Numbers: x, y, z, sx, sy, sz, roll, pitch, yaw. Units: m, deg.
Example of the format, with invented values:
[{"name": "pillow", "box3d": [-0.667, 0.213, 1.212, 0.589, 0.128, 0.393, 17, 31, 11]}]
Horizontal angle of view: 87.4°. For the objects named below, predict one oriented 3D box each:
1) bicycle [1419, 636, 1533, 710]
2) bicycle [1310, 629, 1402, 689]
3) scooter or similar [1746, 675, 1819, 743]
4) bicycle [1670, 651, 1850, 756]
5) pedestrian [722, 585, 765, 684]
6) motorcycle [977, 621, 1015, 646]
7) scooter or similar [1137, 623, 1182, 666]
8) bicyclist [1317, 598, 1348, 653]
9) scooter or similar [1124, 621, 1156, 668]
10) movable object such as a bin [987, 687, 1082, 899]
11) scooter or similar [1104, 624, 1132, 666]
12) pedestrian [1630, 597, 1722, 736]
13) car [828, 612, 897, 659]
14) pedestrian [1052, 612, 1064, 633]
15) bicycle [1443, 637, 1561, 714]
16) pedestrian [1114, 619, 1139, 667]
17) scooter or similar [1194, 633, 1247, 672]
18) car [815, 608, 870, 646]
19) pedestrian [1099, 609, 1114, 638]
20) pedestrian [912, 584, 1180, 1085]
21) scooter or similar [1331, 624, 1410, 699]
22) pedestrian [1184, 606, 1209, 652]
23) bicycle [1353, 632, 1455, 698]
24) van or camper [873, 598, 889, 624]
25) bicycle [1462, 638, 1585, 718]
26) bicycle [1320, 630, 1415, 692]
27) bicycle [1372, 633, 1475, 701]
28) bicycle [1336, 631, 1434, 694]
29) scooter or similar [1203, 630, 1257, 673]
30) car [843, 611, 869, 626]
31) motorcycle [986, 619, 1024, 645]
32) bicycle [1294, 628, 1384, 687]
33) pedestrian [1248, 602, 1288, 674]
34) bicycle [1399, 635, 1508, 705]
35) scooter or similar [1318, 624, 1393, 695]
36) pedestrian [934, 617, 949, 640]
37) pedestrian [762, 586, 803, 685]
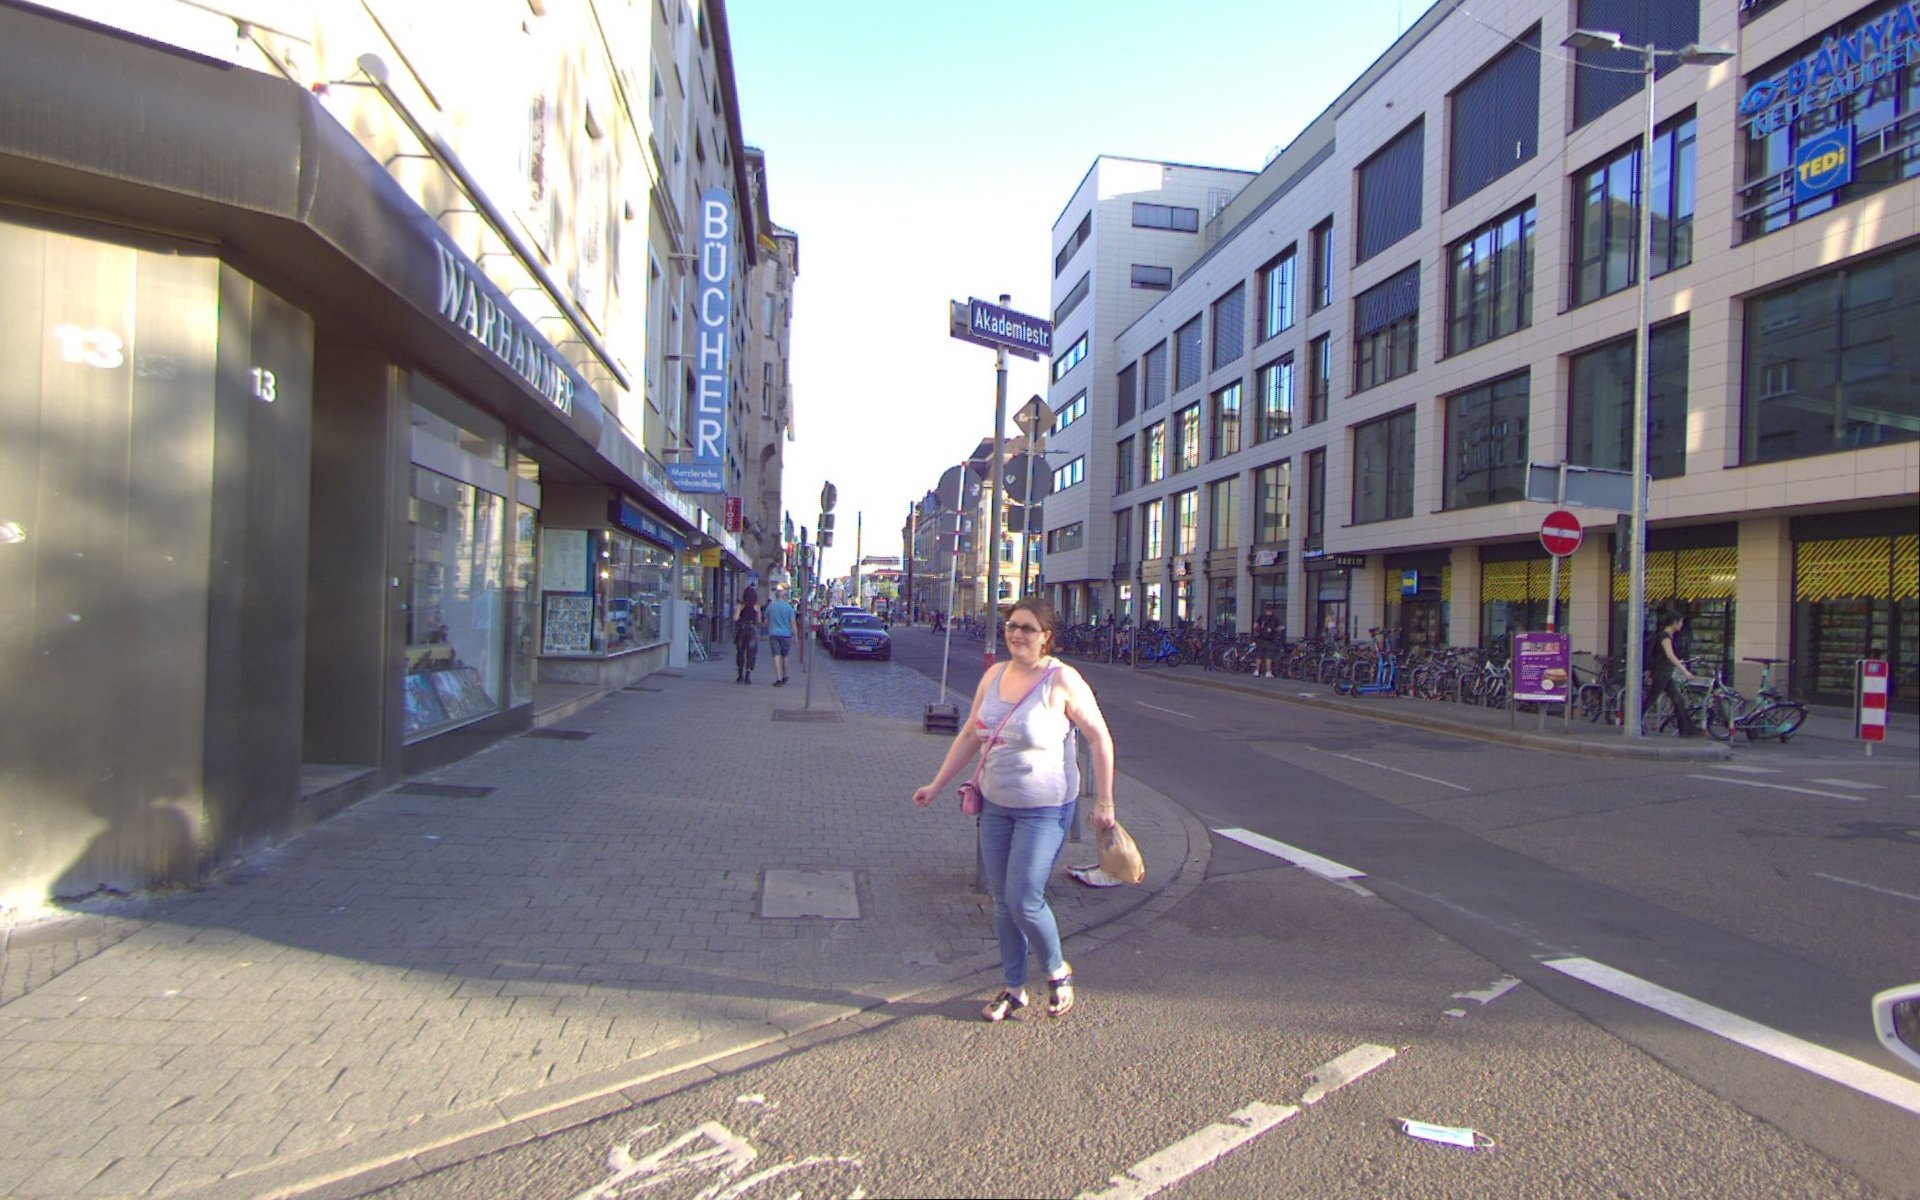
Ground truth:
[{"name": "bicycle", "box3d": [9.580, 1.348, 18.647, 1.944, 1.271, 0.512, 3, 0, -11]}, {"name": "bicycle", "box3d": [9.022, 1.350, 22.900, 1.944, 1.271, 0.512, 3, 0, -11]}, {"name": "scooter or similar", "box3d": [11.704, 1.547, 14.295, 0.756, 0.896, 0.387, 3, 0, -11]}, {"name": "bicycle", "box3d": [10.525, 1.355, 13.226, 2.104, 1.271, 0.664, 3, 0, -13]}, {"name": "pedestrian", "box3d": [-3.906, 0.609, 18.142, 0.653, 1.730, 0.802, 2, 0, -9]}, {"name": "motorcycle", "box3d": [1.986, 1.838, 55.303, 1.948, 1.271, 0.511, 3, 0, -18]}, {"name": "scooter or similar", "box3d": [6.100, 1.370, 30.758, 1.248, 1.259, 0.387, 3, 0, -11]}, {"name": "bicyclist", "box3d": [11.864, 0.801, 31.995, 0.672, 1.718, 0.643, 2, 0, -9]}, {"name": "scooter or similar", "box3d": [5.176, 1.269, 28.959, 0.506, 1.259, 1.269, 2, 0, -6]}, {"name": "movable object such as a bin", "box3d": [0.411, 1.041, 5.549, 0.354, 1.078, 0.354, 2, 0, 39]}, {"name": "scooter or similar", "box3d": [4.852, 1.376, 30.953, 0.506, 1.196, 1.269, 2, 0, -6]}, {"name": "pedestrian", "box3d": [9.102, 0.818, 12.765, 0.859, 1.680, 0.616, 2, 0, 41]}, {"name": "car", "box3d": [-3.309, 1.128, 33.405, 1.831, 1.409, 3.991, 2, -1, -12]}, {"name": "pedestrian", "box3d": [6.759, 1.546, 69.188, 0.672, 1.444, 0.643, 2, 0, -10]}, {"name": "bicycle", "box3d": [9.672, 1.347, 17.936, 1.944, 1.271, 0.512, 3, 0, -11]}, {"name": "pedestrian", "box3d": [6.010, 1.556, 36.360, 0.672, 1.718, 0.643, 2, 0, -10]}, {"name": "scooter or similar", "box3d": [6.740, 1.349, 25.972, 1.248, 0.954, 0.387, 3, 0, -11]}, {"name": "car", "box3d": [-4.896, 1.068, 41.447, 1.831, 1.409, 4.612, 2, -1, -12]}, {"name": "pedestrian", "box3d": [9.137, 1.462, 62.603, 0.672, 1.718, 0.643, 2, 0, -10]}, {"name": "pedestrian", "box3d": [0.353, 0.780, 3.801, 0.789, 1.634, 0.734, 2, 0, 21]}, {"name": "scooter or similar", "box3d": [7.327, 1.099, 17.937, 1.248, 1.277, 0.387, 3, 0, -11]}, {"name": "pedestrian", "box3d": [8.988, 1.081, 38.143, 0.672, 1.718, 0.643, 2, 0, -10]}, {"name": "bicycle", "box3d": [9.213, 1.346, 20.846, 1.944, 1.271, 0.512, 3, 0, -11]}, {"name": "van or camper", "box3d": [-10.765, 1.482, 137.347, 1.962, 3.317, 5.161, 2, 0, -3]}, {"name": "bicycle", "box3d": [9.738, 1.347, 17.368, 1.944, 1.271, 0.512, 3, 0, -11]}, {"name": "bicycle", "box3d": [9.011, 1.345, 22.221, 1.944, 1.271, 0.512, 3, 0, -11]}, {"name": "bicycle", "box3d": [9.330, 1.347, 20.226, 1.945, 1.271, 0.512, 3, 0, -13]}, {"name": "bicycle", "box3d": [9.154, 1.348, 21.631, 1.944, 1.271, 0.512, 3, 0, -11]}, {"name": "scooter or similar", "box3d": [6.804, 1.298, 25.295, 1.248, 1.005, 0.387, 3, 0, -11]}, {"name": "car", "box3d": [-10.702, 1.893, 103.138, 1.968, 1.372, 3.985, 2, 0, -17]}, {"name": "motorcycle", "box3d": [2.429, 1.721, 54.016, 1.948, 1.271, 0.511, 3, 0, -18]}, {"name": "bicycle", "box3d": [8.886, 1.349, 23.568, 1.944, 1.271, 0.512, 3, 0, -11]}, {"name": "pedestrian", "box3d": [7.470, 0.906, 24.375, 0.671, 1.718, 0.643, 2, 0, -7]}, {"name": "bicycle", "box3d": [9.531, 1.351, 19.414, 1.944, 1.271, 0.512, 3, 0, -11]}, {"name": "scooter or similar", "box3d": [7.292, 1.095, 18.526, 1.248, 1.228, 0.387, 3, 0, -11]}, {"name": "pedestrian", "box3d": [-1.220, 1.891, 66.612, 0.907, 1.447, 0.401, 2, 0, -14]}, {"name": "pedestrian", "box3d": [-3.217, 0.638, 18.271, 0.653, 1.730, 0.802, 2, 0, -9]}]
